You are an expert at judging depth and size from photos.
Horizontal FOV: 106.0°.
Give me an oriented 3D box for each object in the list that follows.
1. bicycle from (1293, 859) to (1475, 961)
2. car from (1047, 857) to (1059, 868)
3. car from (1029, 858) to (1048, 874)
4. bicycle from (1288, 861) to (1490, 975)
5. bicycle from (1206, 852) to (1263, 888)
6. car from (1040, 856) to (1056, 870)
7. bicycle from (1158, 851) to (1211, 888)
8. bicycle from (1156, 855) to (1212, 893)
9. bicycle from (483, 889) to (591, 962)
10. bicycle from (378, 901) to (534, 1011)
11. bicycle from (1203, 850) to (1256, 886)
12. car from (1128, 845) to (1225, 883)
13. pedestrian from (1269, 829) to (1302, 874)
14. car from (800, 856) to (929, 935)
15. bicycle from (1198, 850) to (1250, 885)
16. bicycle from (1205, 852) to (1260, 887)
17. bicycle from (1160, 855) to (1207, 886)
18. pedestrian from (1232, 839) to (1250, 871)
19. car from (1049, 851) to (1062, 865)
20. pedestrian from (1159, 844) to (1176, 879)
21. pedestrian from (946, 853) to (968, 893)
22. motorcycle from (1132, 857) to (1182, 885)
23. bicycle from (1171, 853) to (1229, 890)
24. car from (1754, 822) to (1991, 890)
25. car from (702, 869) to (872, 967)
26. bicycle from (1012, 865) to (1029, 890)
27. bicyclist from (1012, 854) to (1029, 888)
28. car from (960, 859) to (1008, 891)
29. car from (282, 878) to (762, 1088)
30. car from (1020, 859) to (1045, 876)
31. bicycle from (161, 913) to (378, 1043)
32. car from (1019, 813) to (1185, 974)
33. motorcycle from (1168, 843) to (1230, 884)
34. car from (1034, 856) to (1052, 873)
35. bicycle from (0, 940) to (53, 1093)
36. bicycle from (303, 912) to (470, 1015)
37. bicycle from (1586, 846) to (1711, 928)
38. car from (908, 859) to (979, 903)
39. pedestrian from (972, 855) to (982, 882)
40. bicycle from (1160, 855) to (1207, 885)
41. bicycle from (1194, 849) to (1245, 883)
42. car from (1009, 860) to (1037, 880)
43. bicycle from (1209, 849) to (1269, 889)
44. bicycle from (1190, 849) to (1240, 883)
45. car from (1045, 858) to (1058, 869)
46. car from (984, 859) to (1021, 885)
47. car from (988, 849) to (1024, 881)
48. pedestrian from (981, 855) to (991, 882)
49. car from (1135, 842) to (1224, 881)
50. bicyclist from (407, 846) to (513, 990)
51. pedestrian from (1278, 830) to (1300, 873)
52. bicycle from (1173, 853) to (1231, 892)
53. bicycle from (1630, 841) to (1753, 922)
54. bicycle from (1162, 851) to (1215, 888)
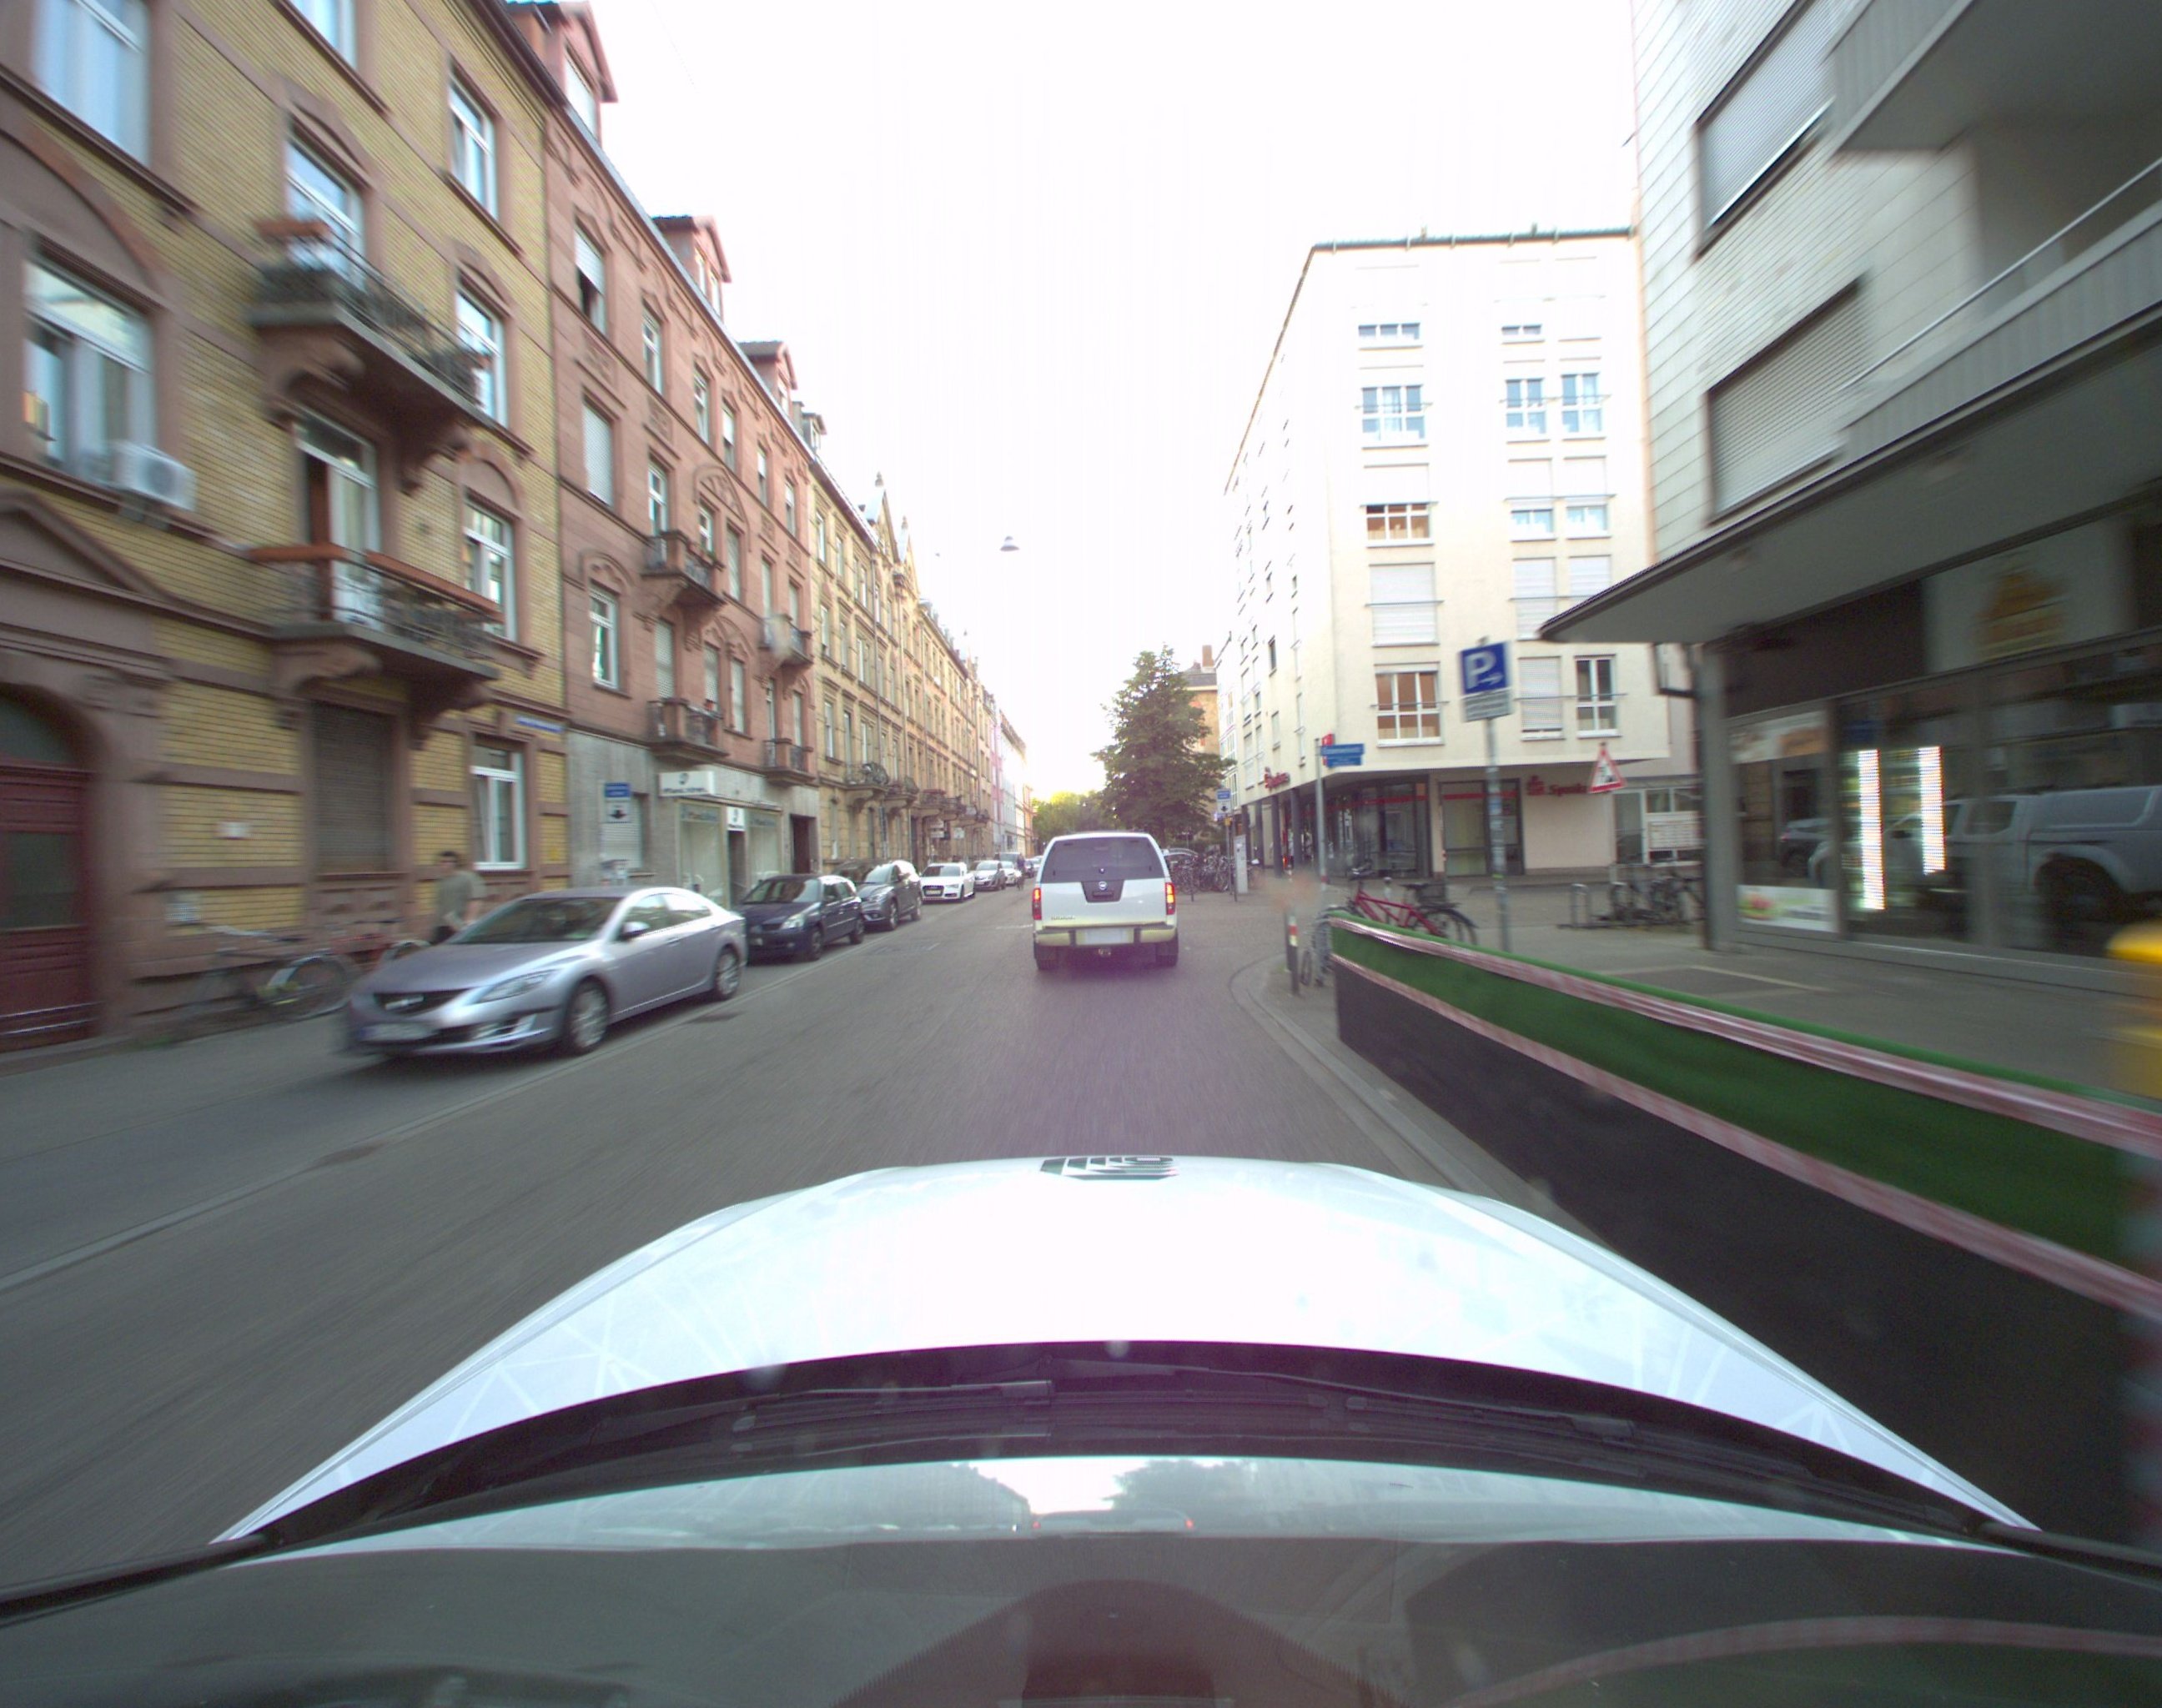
[{"bbox_3d":[3.708,0.707,10.076,1.919,1.134,0.661,-5,-1,38],"label":"bicycle"},{"bbox_3d":[-3.969,1.204,115.093,1.694,1.552,4.019,-1,0,-2],"label":"car"},{"bbox_3d":[-4.179,1.160,80.603,1.631,1.565,3.781,-2,0,0],"label":"car"},{"bbox_3d":[3.414,0.723,9.136,1.919,1.134,0.661,-5,-1,38],"label":"bicycle"},{"bbox_3d":[5.094,0.520,27.039,1.715,1.054,0.654,-5,-1,4],"label":"bicycle"},{"bbox_3d":[-4.161,1.132,102.906,1.693,1.621,4.022,-1,0,0],"label":"car"},{"bbox_3d":[3.935,0.588,31.100,1.860,1.182,0.744,-7,-1,5],"label":"bicycle"},{"bbox_3d":[3.433,0.656,27.306,1.717,1.118,0.706,-5,-1,-1],"label":"bicycle"},{"bbox_3d":[-8.751,1.116,13.199,0.447,1.022,1.848,1,0,1],"label":"bicycle"},{"bbox_3d":[-7.906,1.243,10.408,0.706,1.196,1.739,-2,-1,-4],"label":"bicycle"},{"bbox_3d":[5.263,0.490,28.868,1.715,1.118,0.654,-5,-1,4],"label":"bicycle"},{"bbox_3d":[4.701,0.481,40.254,4.417,1.455,1.776,-5,0,-6],"label":"car"},{"bbox_3d":[8.328,-0.097,33.188,0.780,1.723,0.902,-6,2,-42],"label":"pedestrian"},{"bbox_3d":[-5.132,0.914,19.951,1.846,1.633,4.446,-2,0,1],"label":"car"},{"bbox_3d":[5.166,0.480,29.439,1.715,1.118,0.654,-5,-1,4],"label":"bicycle"},{"bbox_3d":[5.142,0.522,27.710,1.715,1.054,0.654,-5,-1,4],"label":"bicycle"},{"bbox_3d":[4.075,0.662,32.470,1.712,1.031,0.668,-7,-1,3],"label":"bicycle"},{"bbox_3d":[9.040,0.048,46.026,0.725,1.716,0.963,-5,-1,1],"label":"pedestrian"},{"bbox_3d":[-3.853,0.593,123.247,1.807,1.977,4.181,-1,0,-3],"label":"car"},{"bbox_3d":[4.415,0.382,41.533,0.626,1.753,0.585,-2,-1,-11],"label":"pedestrian"},{"bbox_3d":[-5.608,0.869,36.846,0.550,1.755,1.026,-2,-1,14],"label":"pedestrian"},{"bbox_3d":[3.368,0.744,36.154,2.061,1.078,0.660,-5,-1,-15],"label":"motorcycle"},{"bbox_3d":[4.094,0.605,28.098,1.804,1.118,0.706,-5,-1,-1],"label":"bicycle"},{"bbox_3d":[20.360,0.023,21.097,4.212,1.432,1.796,-3,3,5],"label":"car"},{"bbox_3d":[-5.108,1.043,14.690,1.579,1.420,3.698,-2,0,2],"label":"car"},{"bbox_3d":[-2.909,1.119,39.544,0.643,1.081,2.167,-4,0,-1],"label":"bicycle"},{"bbox_3d":[-2.936,0.824,39.557,0.643,1.620,0.918,-4,0,-2],"label":"bicyclist"},{"bbox_3d":[-4.682,0.989,39.896,1.710,1.457,4.002,-1,0,2],"label":"car"},{"bbox_3d":[-5.107,1.040,8.418,1.717,1.420,4.582,-1,0,1],"label":"car"},{"bbox_3d":[-4.218,1.150,71.581,1.827,1.458,4.207,0,0,1],"label":"car"},{"bbox_3d":[-8.629,1.265,8.781,0.547,1.123,1.760,0,0,1],"label":"bicycle"},{"bbox_3d":[0.448,0.480,12.169,1.902,1.853,5.277,-1,0,4],"label":"car"},{"bbox_3d":[5.078,0.402,35.244,2.481,1.549,0.824,-5,-1,3],"label":"motorcycle"},{"bbox_3d":[-4.066,1.133,87.258,1.840,1.659,4.249,-3,0,-2],"label":"car"},{"bbox_3d":[-8.528,1.259,5.673,0.737,1.123,1.607,-1,0,-6],"label":"bicycle"},{"bbox_3d":[-8.594,1.312,10.183,0.547,1.037,1.760,0,0,1],"label":"bicycle"},{"bbox_3d":[8.214,0.463,11.904,0.560,1.067,1.966,-4,-2,6],"label":"bicycle"},{"bbox_3d":[-5.005,0.955,30.271,1.752,1.412,4.509,-2,0,1],"label":"car"},{"bbox_3d":[-6.877,0.967,53.671,0.578,1.771,0.996,0,0,-3],"label":"pedestrian"},{"bbox_3d":[4.138,0.660,33.088,1.765,1.022,0.565,-7,-1,3],"label":"bicycle"},{"bbox_3d":[5.174,0.463,30.521,1.718,1.118,0.653,-5,-1,-3],"label":"bicycle"},{"bbox_3d":[-4.433,1.213,62.472,1.731,1.418,4.778,-1,-1,0],"label":"car"},{"bbox_3d":[5.037,0.477,26.014,1.723,1.131,0.576,-5,-1,-12],"label":"bicycle"},{"bbox_3d":[5.133,0.459,31.243,1.718,1.118,0.653,-5,-1,-3],"label":"bicycle"},{"bbox_3d":[-3.932,1.267,109.165,1.694,1.426,4.019,-1,0,-2],"label":"car"},{"bbox_3d":[-4.518,1.012,47.380,1.778,1.423,4.483,-1,0,-1],"label":"car"},{"bbox_3d":[-4.767,0.683,52.628,1.988,1.924,4.948,-1,0,-2],"label":"car"},{"bbox_3d":[-6.265,0.976,53.959,0.604,1.772,0.776,0,0,-3],"label":"pedestrian"},{"bbox_3d":[5.164,0.368,43.017,4.385,1.647,1.746,-5,0,0],"label":"car"},{"bbox_3d":[-7.926,0.792,10.436,0.706,1.730,0.842,-2,-1,-4],"label":"bicyclist"},{"bbox_3d":[8.721,-0.099,34.112,0.656,1.723,0.667,-3,1,28],"label":"pedestrian"},{"bbox_3d":[3.917,0.605,26.443,1.715,1.118,0.707,-5,-1,3],"label":"bicycle"},{"bbox_3d":[8.872,0.396,11.931,0.560,1.067,1.760,-4,-2,6],"label":"bicycle"},{"bbox_3d":[3.987,0.569,30.257,1.777,1.182,0.736,-7,-1,11],"label":"bicycle"}]
